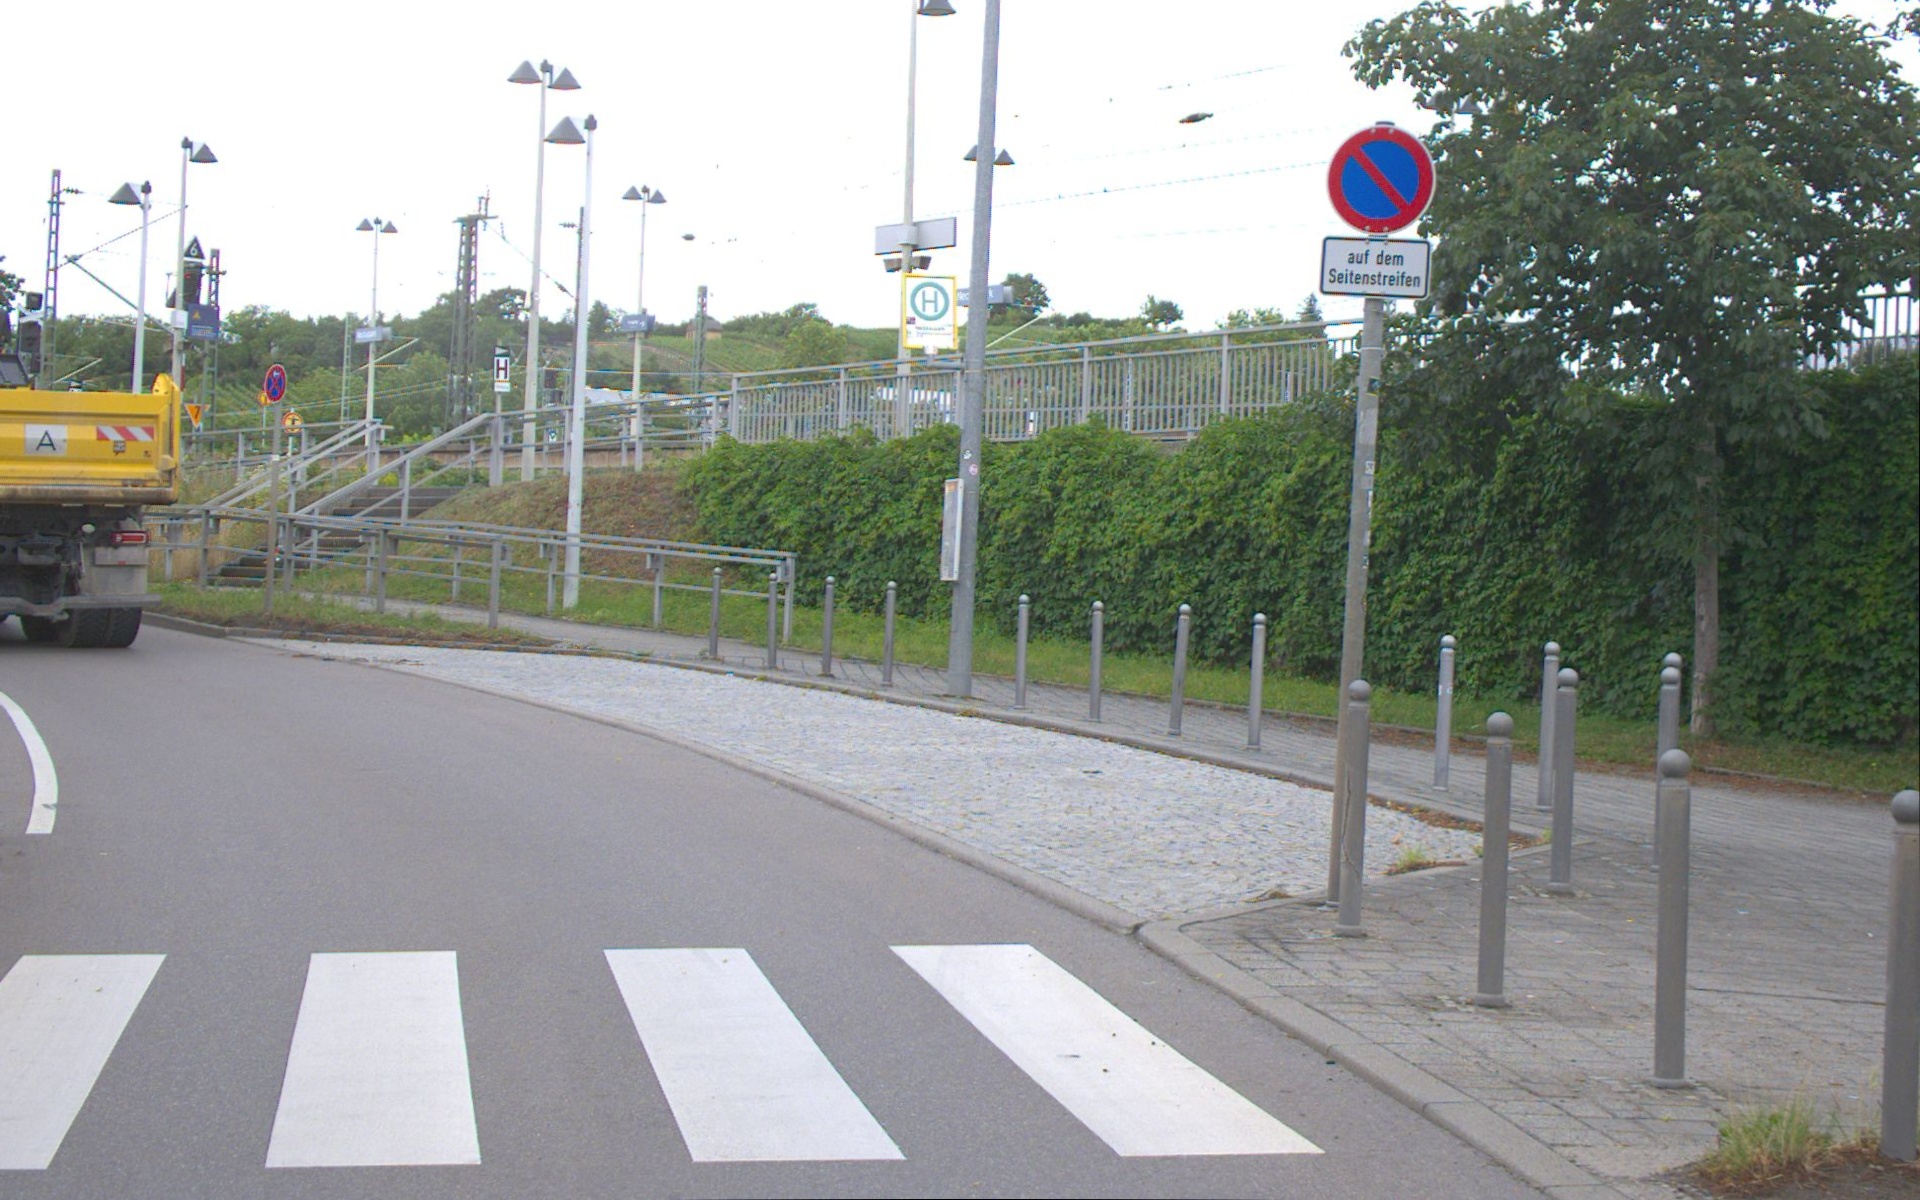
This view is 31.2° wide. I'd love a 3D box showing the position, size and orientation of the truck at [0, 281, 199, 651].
[{"bbox_3d":[-10.632,-1.478,36.140,2.764,3.471,8.131,1,3,-30],"label":"truck"}]
